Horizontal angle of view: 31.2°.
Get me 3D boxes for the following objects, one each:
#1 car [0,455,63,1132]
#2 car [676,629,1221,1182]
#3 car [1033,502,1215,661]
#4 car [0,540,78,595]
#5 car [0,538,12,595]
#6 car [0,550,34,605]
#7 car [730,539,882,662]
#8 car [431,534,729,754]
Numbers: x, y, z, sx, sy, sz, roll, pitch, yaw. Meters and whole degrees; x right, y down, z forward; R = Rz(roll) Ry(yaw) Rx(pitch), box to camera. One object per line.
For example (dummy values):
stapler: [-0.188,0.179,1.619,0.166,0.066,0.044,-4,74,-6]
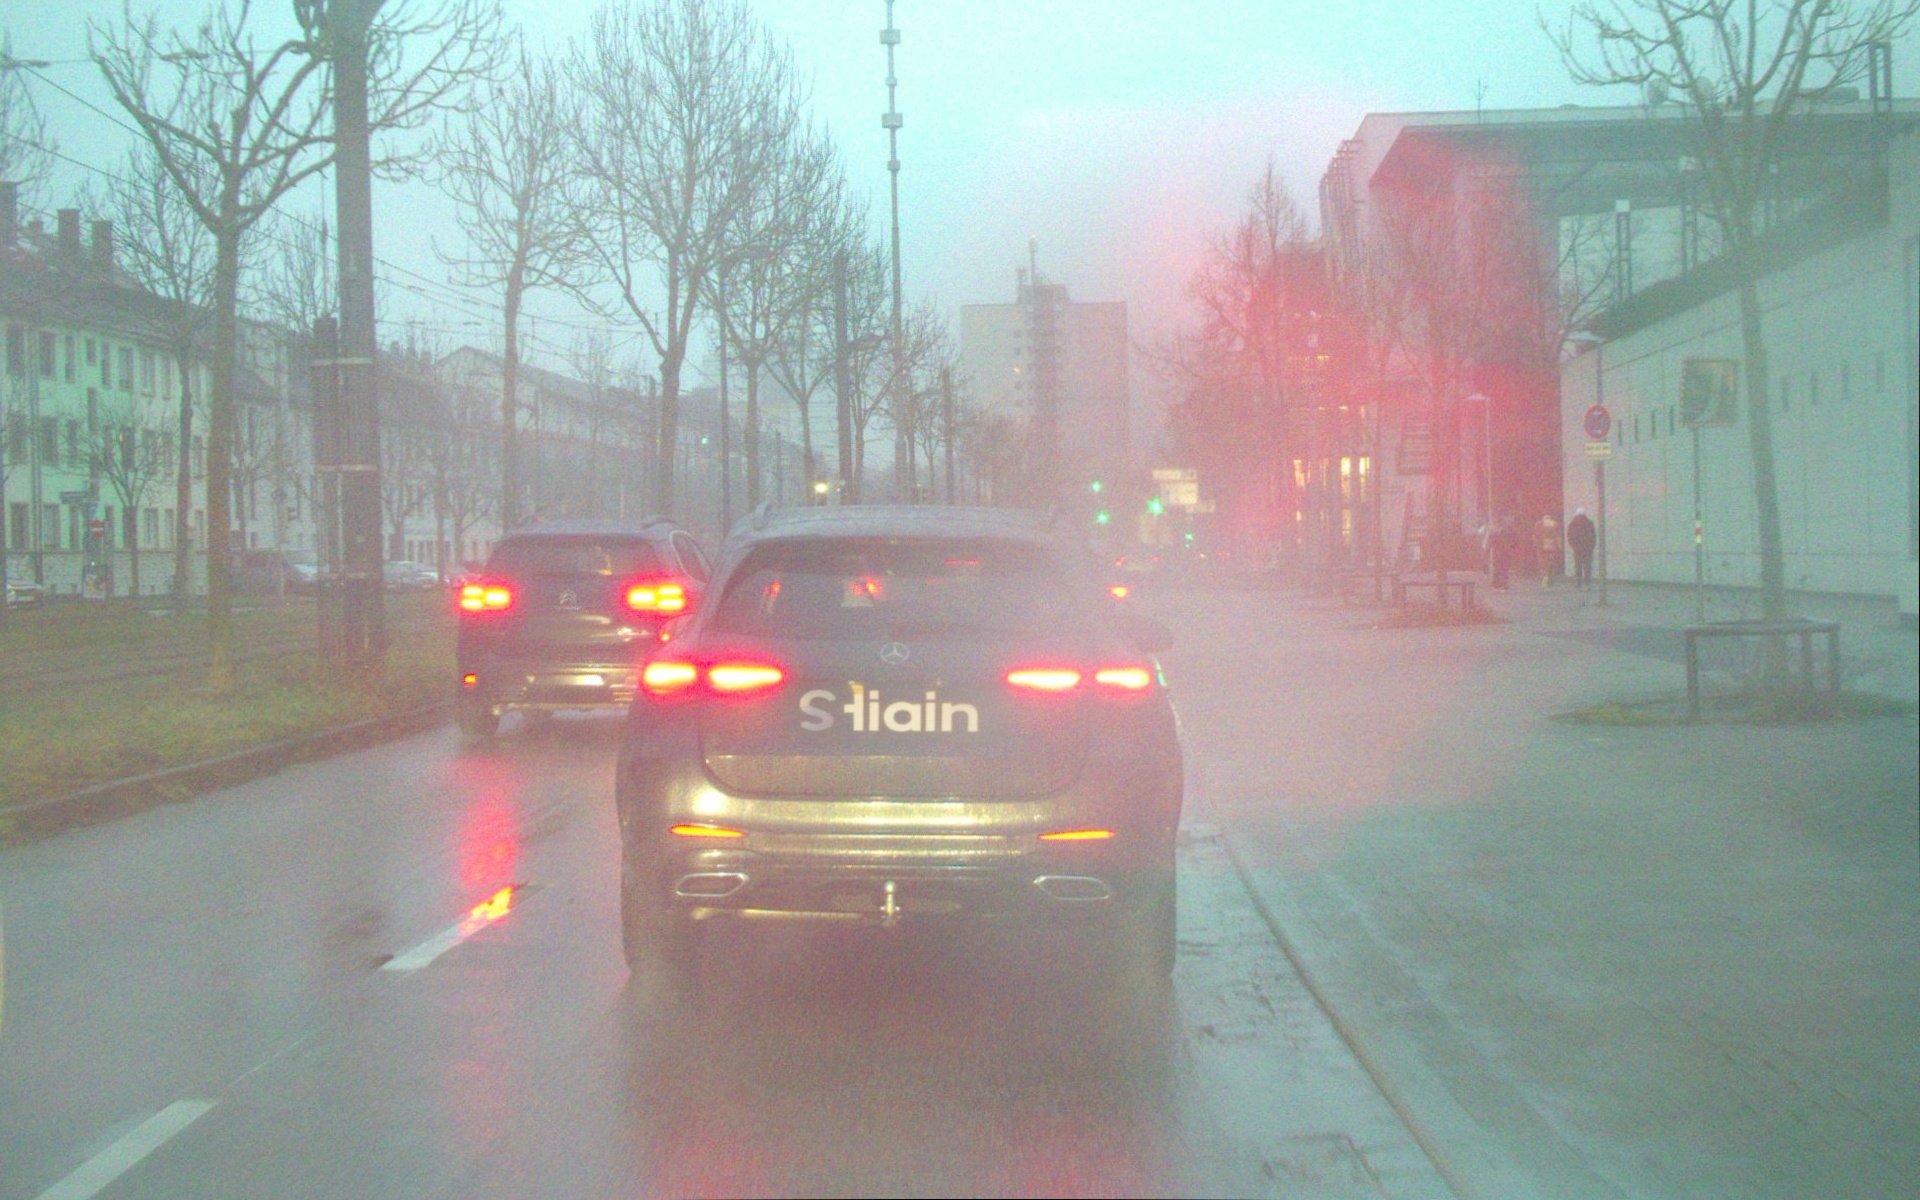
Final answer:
car: [-3.115,0.481,6.623,1.672,1.594,4.053,0,1,1]
car: [0.072,0.951,12.565,1.672,1.594,4.053,0,1,3]
car: [1.941,-0.239,40.322,1.994,1.738,4.000,-1,1,3]
car: [-24.815,-0.832,89.324,3.552,1.349,1.778,-1,2,36]
car: [-24.689,-0.762,82.669,3.552,1.349,1.778,-1,2,36]
car: [-24.941,-0.532,85.581,3.552,1.349,1.778,-1,2,36]
car: [-2.048,-0.020,46.632,1.672,1.594,4.053,0,1,3]
car: [-2.892,0.289,26.941,1.672,1.594,4.053,0,1,3]
